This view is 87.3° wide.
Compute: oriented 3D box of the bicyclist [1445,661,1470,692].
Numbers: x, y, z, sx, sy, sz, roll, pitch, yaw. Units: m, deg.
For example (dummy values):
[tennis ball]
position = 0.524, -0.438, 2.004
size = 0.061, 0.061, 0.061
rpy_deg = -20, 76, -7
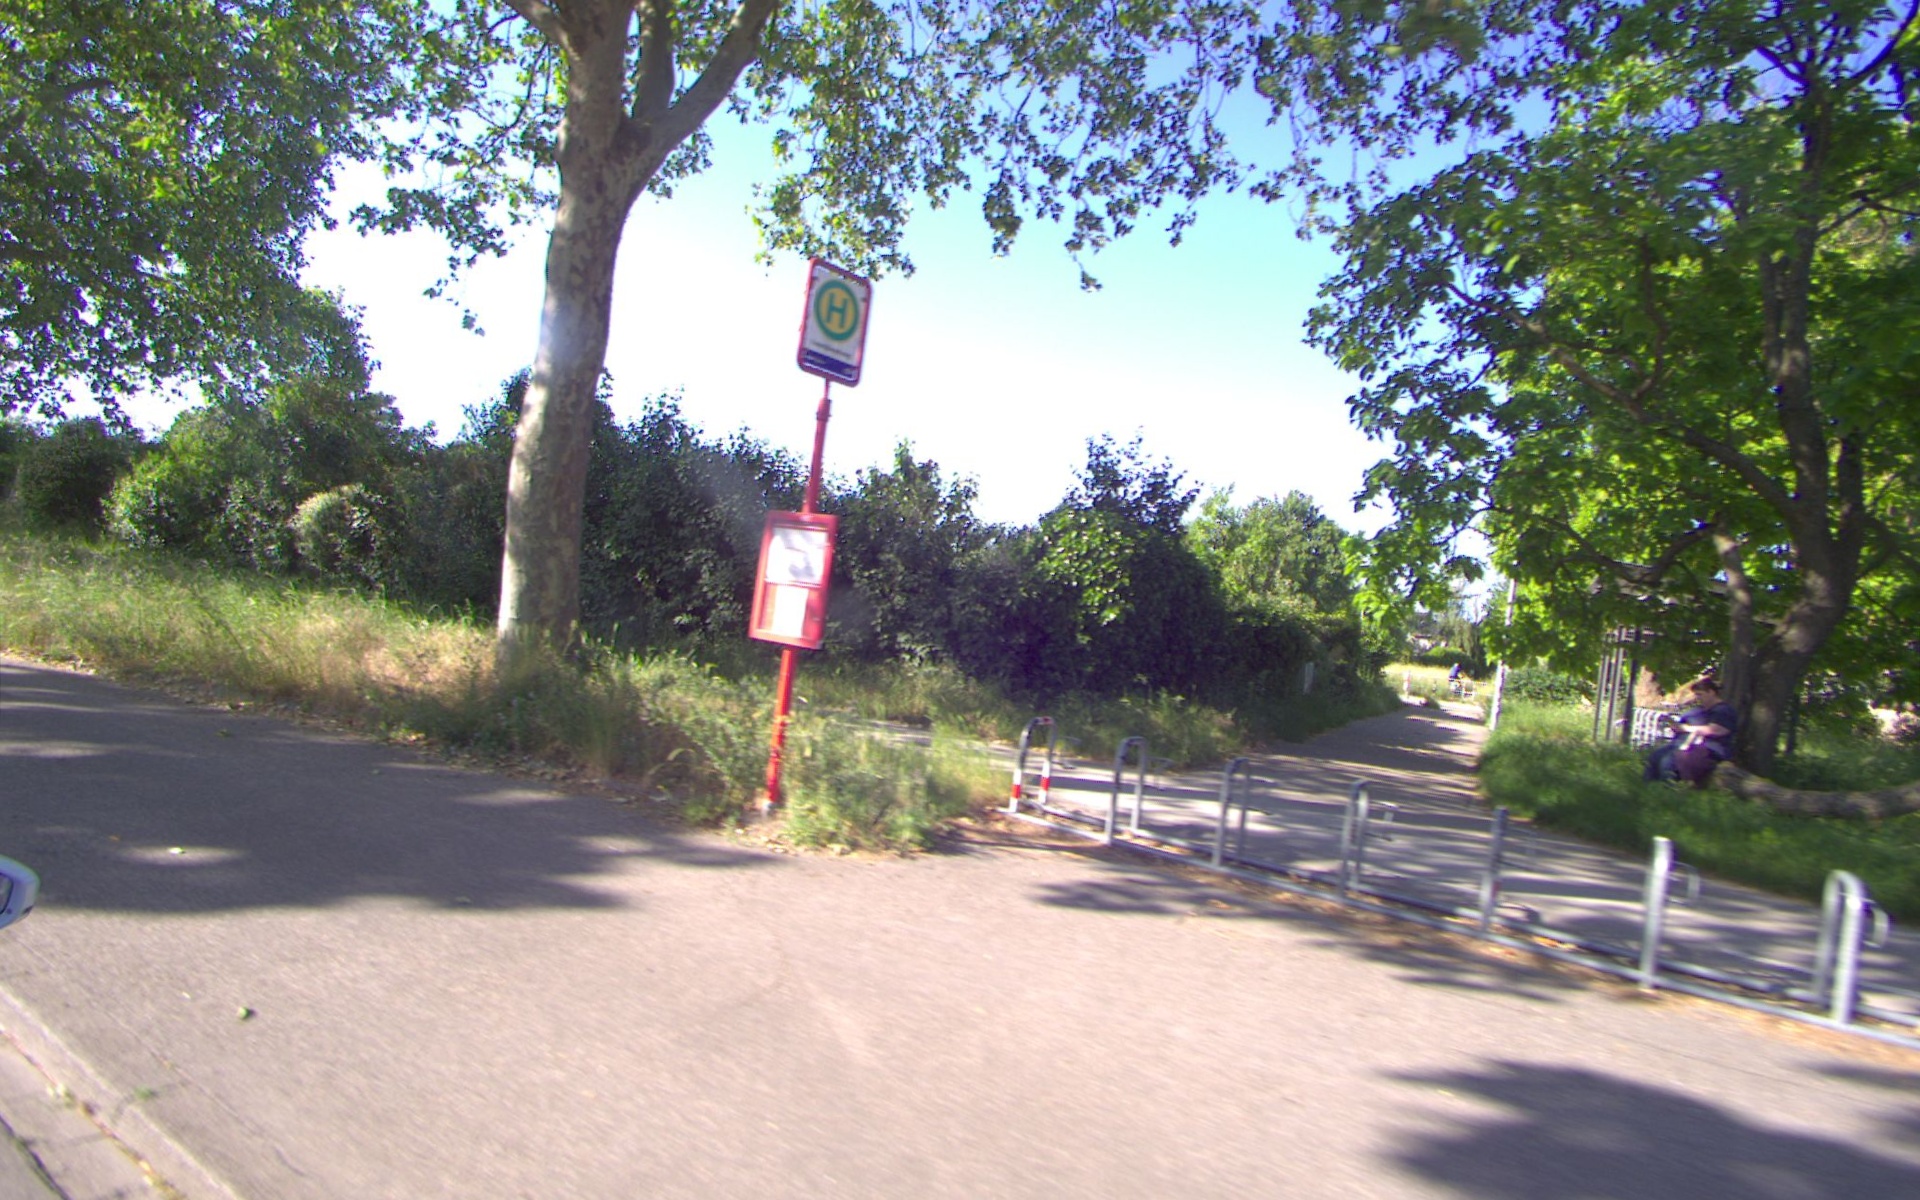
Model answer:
[bicyclist]
position = 25.613, 3.954, 51.775
size = 0.918, 1.443, 0.890
rpy_deg = 6, -1, 31

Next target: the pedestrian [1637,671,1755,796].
[pedestrian]
position = 8.033, 1.438, 11.013
size = 0.677, 1.233, 0.737
rpy_deg = 7, -2, 11

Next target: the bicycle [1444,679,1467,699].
[bicycle]
position = 25.525, 4.569, 51.815
size = 0.900, 0.841, 2.036
rpy_deg = 6, -3, 30
